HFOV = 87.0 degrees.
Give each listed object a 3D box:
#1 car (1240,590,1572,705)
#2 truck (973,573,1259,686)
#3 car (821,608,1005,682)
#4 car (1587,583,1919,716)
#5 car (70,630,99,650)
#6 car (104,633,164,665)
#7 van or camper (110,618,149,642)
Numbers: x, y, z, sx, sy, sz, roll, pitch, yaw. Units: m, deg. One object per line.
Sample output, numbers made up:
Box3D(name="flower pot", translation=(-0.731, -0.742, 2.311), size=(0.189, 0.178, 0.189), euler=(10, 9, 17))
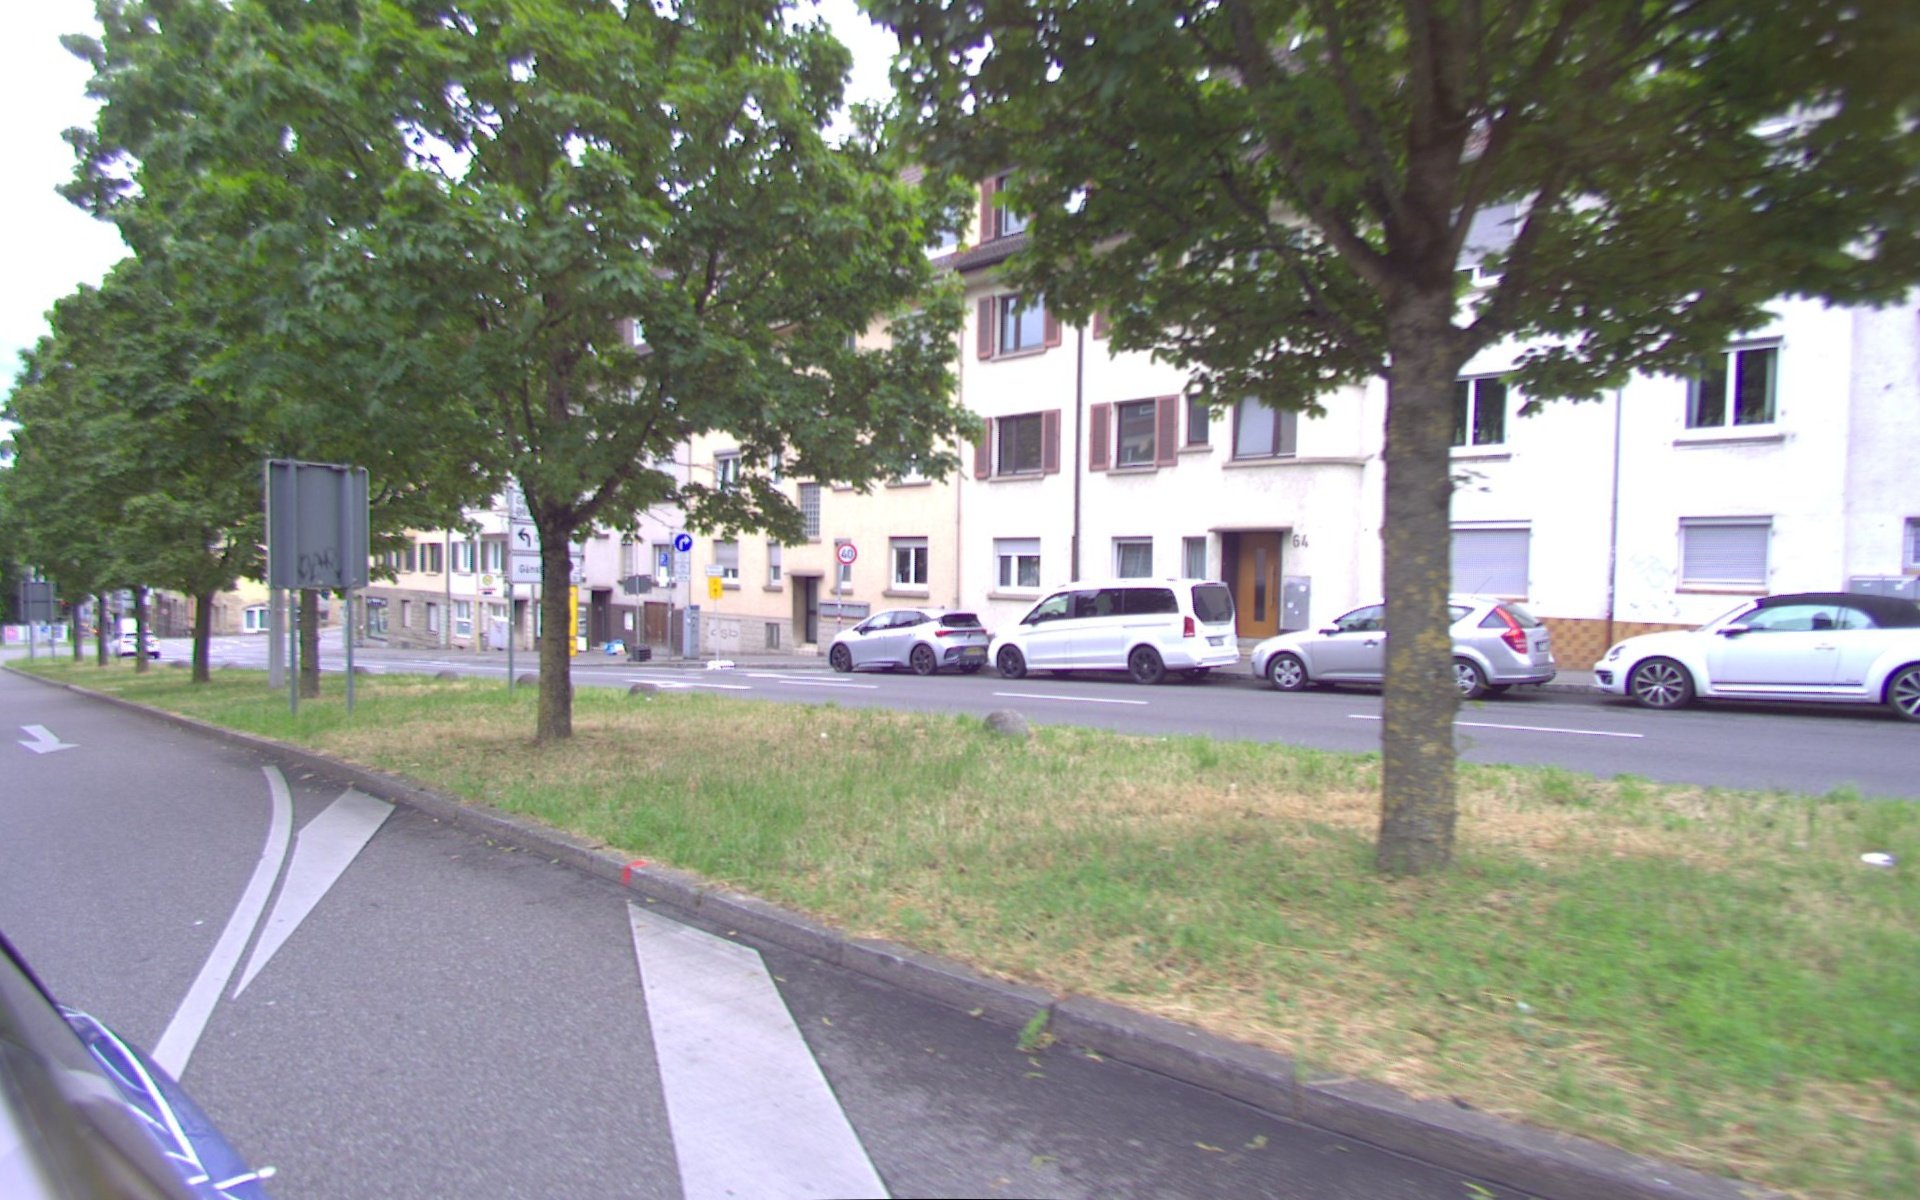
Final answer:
Box3D(name="car", translation=(6.908, 0.687, 15.973), size=(4.382, 1.564, 1.972), euler=(-2, -1, 43))
Box3D(name="truck", translation=(2.899, 0.552, 19.809), size=(5.347, 1.934, 1.972), euler=(-2, -1, 43))
Box3D(name="car", translation=(-1.174, 1.006, 23.795), size=(4.158, 1.564, 1.972), euler=(-2, -1, 43))
Box3D(name="car", translation=(10.546, 0.568, 12.750), size=(4.159, 1.485, 1.971), euler=(-2, -1, 44))
Box3D(name="car", translation=(-89.923, 4.098, 103.956), size=(4.353, 1.829, 1.858), euler=(-4, -2, 45))
Box3D(name="car", translation=(-41.427, 2.437, 50.697), size=(4.586, 1.478, 1.726), euler=(-2, -1, 43))
Box3D(name="van or camper", translation=(-67.095, 2.428, 81.729), size=(4.656, 1.774, 1.886), euler=(-2, 0, 44))
